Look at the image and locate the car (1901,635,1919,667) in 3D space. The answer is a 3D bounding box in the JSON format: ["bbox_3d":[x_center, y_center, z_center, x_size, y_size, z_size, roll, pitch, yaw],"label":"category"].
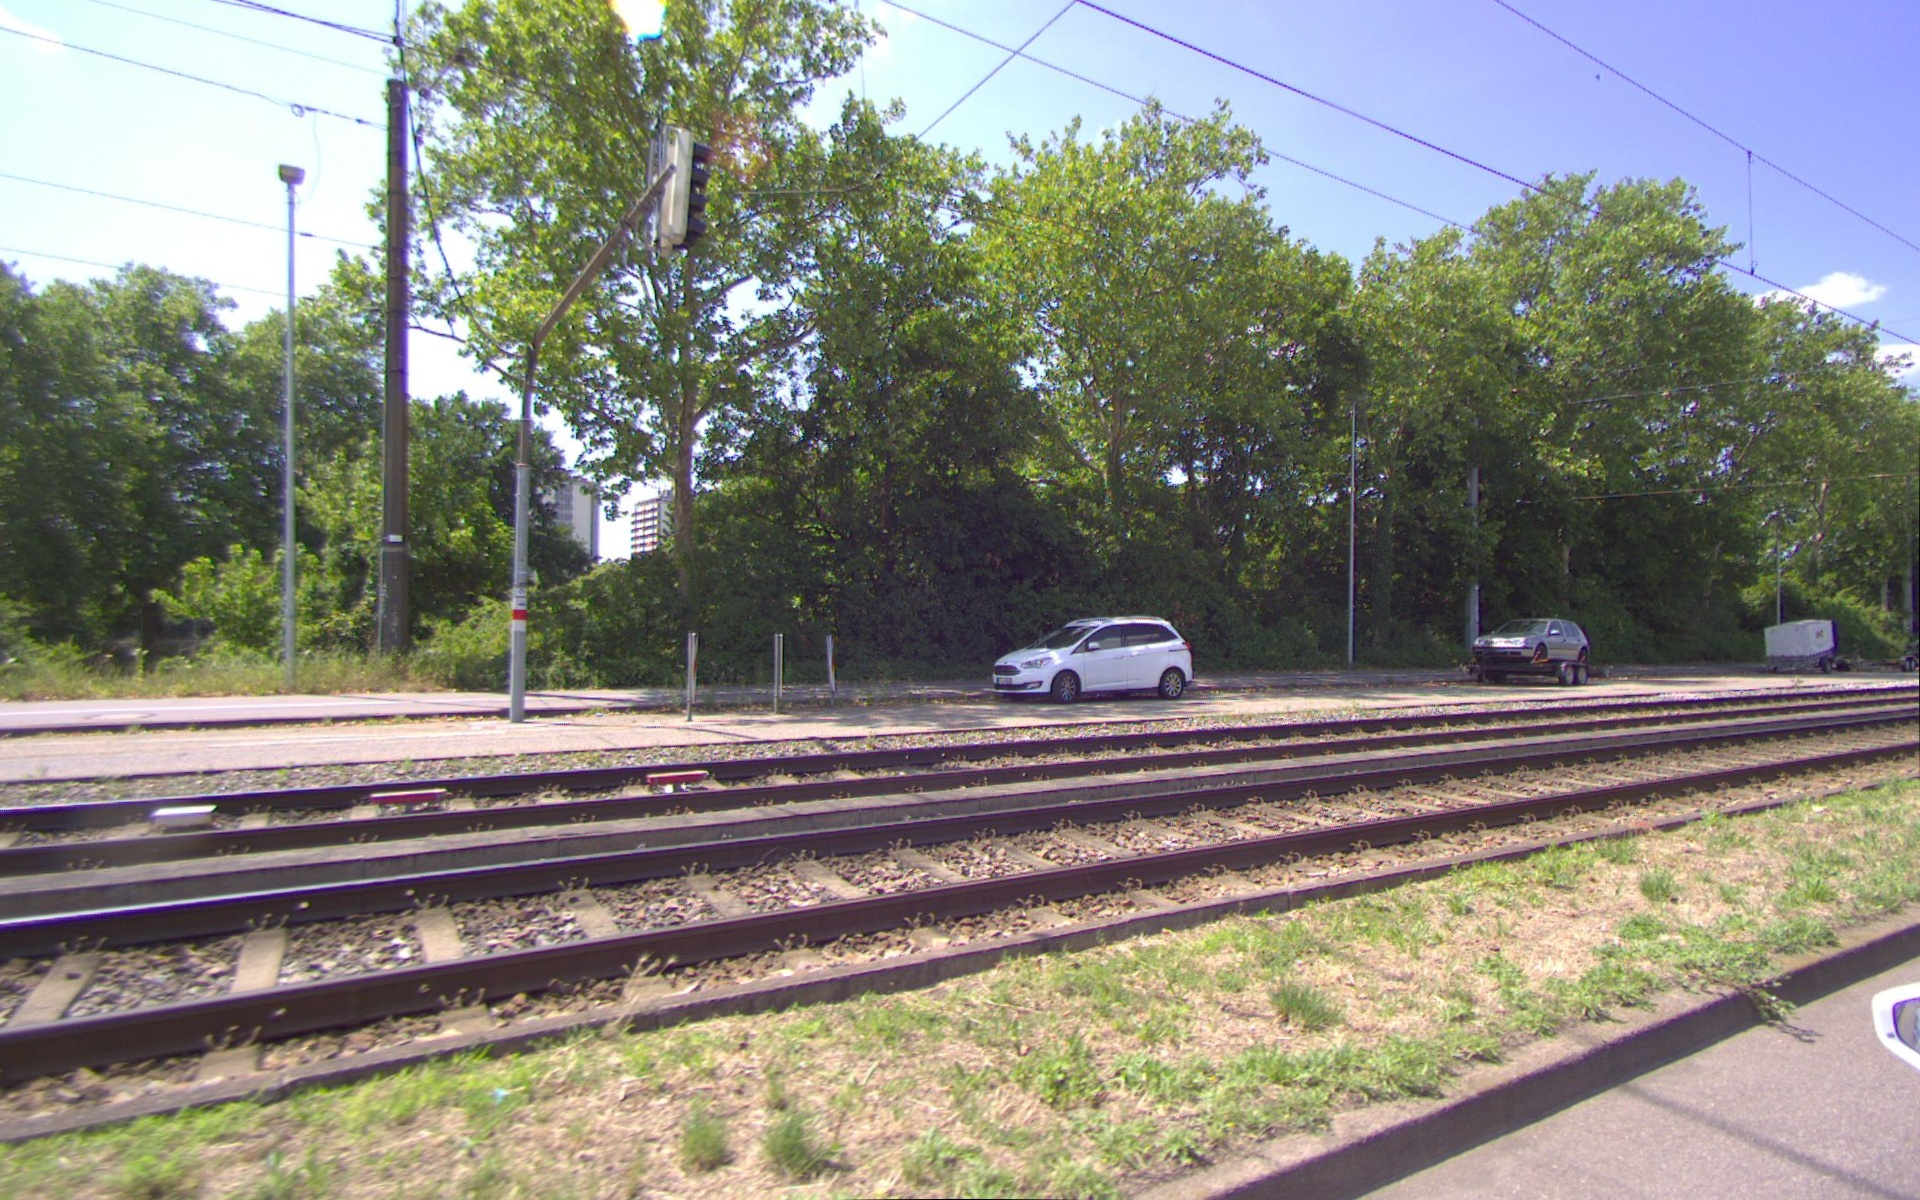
[{"bbox_3d":[45.482,2.382,46.829,3.878,1.470,1.425,1,0,-33],"label":"car"}]

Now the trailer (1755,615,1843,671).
[{"bbox_3d":[32.952,1.638,39.436,3.875,2.041,1.600,1,1,-34],"label":"trailer"}]

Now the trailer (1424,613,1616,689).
[{"bbox_3d":[15.938,1.368,28.482,5.903,1.914,2.445,1,0,-35],"label":"trailer"}]

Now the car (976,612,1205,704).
[{"bbox_3d":[2.720,1.136,20.511,4.564,1.652,1.711,0,-3,-32],"label":"car"}]

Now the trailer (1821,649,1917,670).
[{"bbox_3d":[38.488,2.515,42.521,3.955,0.752,1.983,2,-1,-31],"label":"trailer"}]
